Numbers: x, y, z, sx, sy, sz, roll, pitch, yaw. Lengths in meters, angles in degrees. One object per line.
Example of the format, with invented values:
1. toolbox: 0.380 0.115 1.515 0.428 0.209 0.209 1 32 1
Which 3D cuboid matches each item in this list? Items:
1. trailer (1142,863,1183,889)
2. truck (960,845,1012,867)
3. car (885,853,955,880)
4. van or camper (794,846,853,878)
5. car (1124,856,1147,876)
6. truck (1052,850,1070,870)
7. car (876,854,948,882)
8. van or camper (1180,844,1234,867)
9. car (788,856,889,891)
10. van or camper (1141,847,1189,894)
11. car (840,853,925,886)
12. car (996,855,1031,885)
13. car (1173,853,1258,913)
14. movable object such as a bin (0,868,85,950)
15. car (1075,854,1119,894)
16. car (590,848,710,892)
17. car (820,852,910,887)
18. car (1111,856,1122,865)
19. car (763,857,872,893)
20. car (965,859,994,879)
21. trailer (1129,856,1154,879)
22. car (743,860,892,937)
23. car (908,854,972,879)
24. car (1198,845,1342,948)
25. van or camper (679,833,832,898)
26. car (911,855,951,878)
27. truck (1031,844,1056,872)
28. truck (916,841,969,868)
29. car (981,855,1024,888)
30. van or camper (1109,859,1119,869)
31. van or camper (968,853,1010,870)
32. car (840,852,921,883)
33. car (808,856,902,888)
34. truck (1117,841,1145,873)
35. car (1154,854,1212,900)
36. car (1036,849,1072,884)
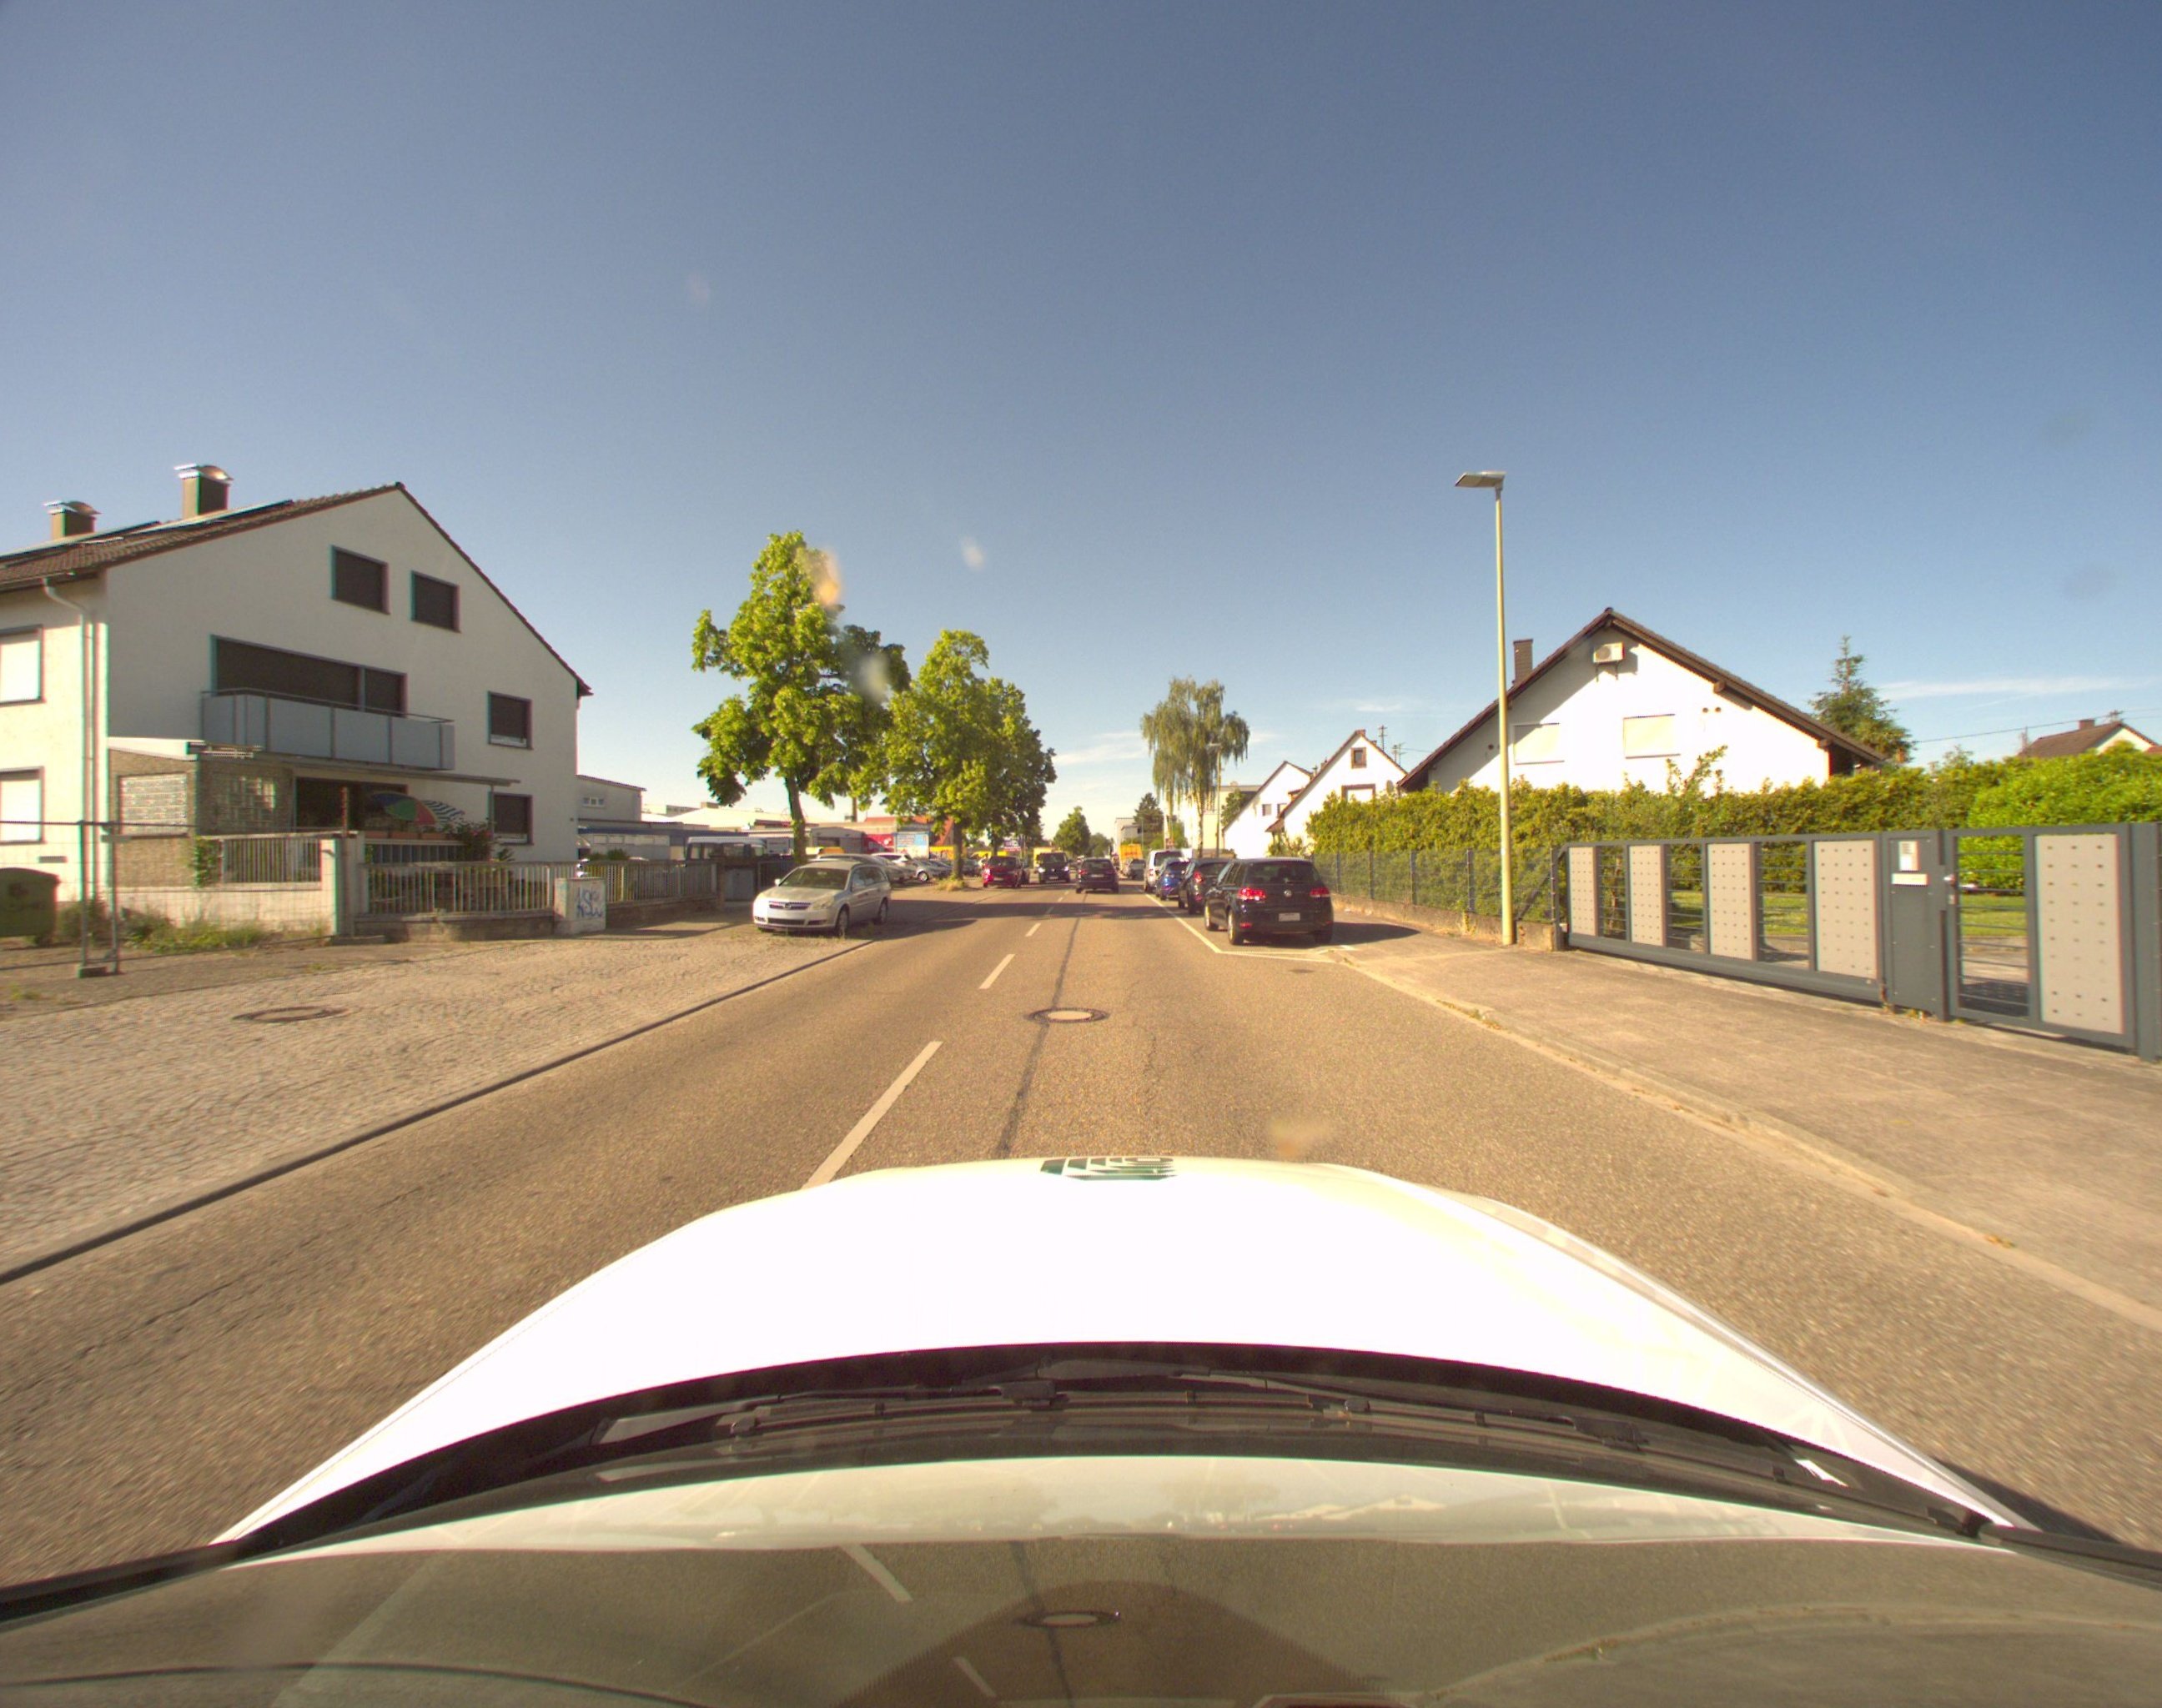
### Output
1. trailer: 3.983 1.065 40.286 1.623 1.217 3.143 -1 0 -2
2. truck: -11.569 0.209 99.543 5.881 2.567 2.231 1 0 12
3. car: -10.817 0.836 54.903 4.226 1.728 1.769 -1 -1 7
4. van or camper: -22.732 0.678 72.169 2.150 2.715 6.289 -1 0 12
5. car: 4.273 0.920 63.134 1.666 1.542 4.048 0 0 5
6. truck: -3.055 0.934 124.507 2.394 2.983 6.375 1 -1 2
7. car: -10.887 0.886 52.639 4.231 1.728 1.767 -1 -1 3
8. van or camper: 14.405 0.126 92.962 5.841 2.541 2.271 -1 -1 -25
9. car: -11.538 0.918 38.896 4.228 1.542 1.769 -1 1 5
10. van or camper: 3.563 0.690 35.139 1.712 1.891 4.181 0 0 2
11. car: -11.101 0.851 45.636 4.226 1.728 1.769 -1 -1 7
12. car: -4.174 0.971 50.935 1.668 1.771 4.555 1 0 1
13. car: 3.605 0.737 22.429 1.713 1.505 3.906 0 0 0
14. movable object such as a bin: -18.740 0.951 14.404 0.632 1.390 1.262 -1 0 15
15. car: 0.701 0.807 34.111 1.705 1.532 3.689 -1 0 2
16. car: -16.597 0.645 31.394 3.953 1.579 1.685 -1 -2 14
17. car: -11.370 0.825 43.060 4.229 1.752 1.768 -1 -1 4
18. car: 7.023 1.237 161.376 1.912 1.825 4.081 -1 0 1
19. car: -11.664 0.906 36.176 4.226 1.542 1.769 0 0 7
20. car: -8.537 1.323 68.592 1.855 1.590 4.276 -1 -2 1
21. trailer: 4.190 0.922 57.024 1.621 1.538 3.200 -1 0 2
22. car: -5.633 0.880 18.004 1.680 1.435 4.212 2 0 3
23. car: -10.304 0.902 59.617 4.226 1.728 1.769 -1 -1 7
24. car: 3.349 0.688 15.129 1.770 1.659 3.815 0 0 0
25. van or camper: -12.145 0.432 30.512 4.858 2.320 2.252 0 -1 13
26. car: -12.603 1.042 68.795 1.764 1.748 4.178 -1 1 12
27. truck: -4.136 0.496 91.216 2.395 2.983 7.244 1 -1 0
28. truck: -16.542 0.055 97.562 5.630 3.119 2.531 1 0 12
29. car: -4.307 0.941 45.333 1.797 1.752 4.343 1 0 2
30. van or camper: 6.702 2.034 166.053 1.912 2.019 4.081 -1 0 1
31. van or camper: -10.934 0.890 96.742 4.518 2.014 2.256 -1 -1 7
32. car: -11.752 0.788 47.816 4.226 1.728 1.769 -1 -1 7
33. car: -11.335 0.881 41.015 4.235 1.585 1.765 0 0 0
34. truck: 4.915 0.295 81.203 2.394 2.936 7.017 -3 -1 1
35. car: 3.572 0.781 29.095 1.712 1.505 3.564 0 0 2
36. car: -1.616 0.759 50.981 1.887 2.031 4.819 -2 0 2
